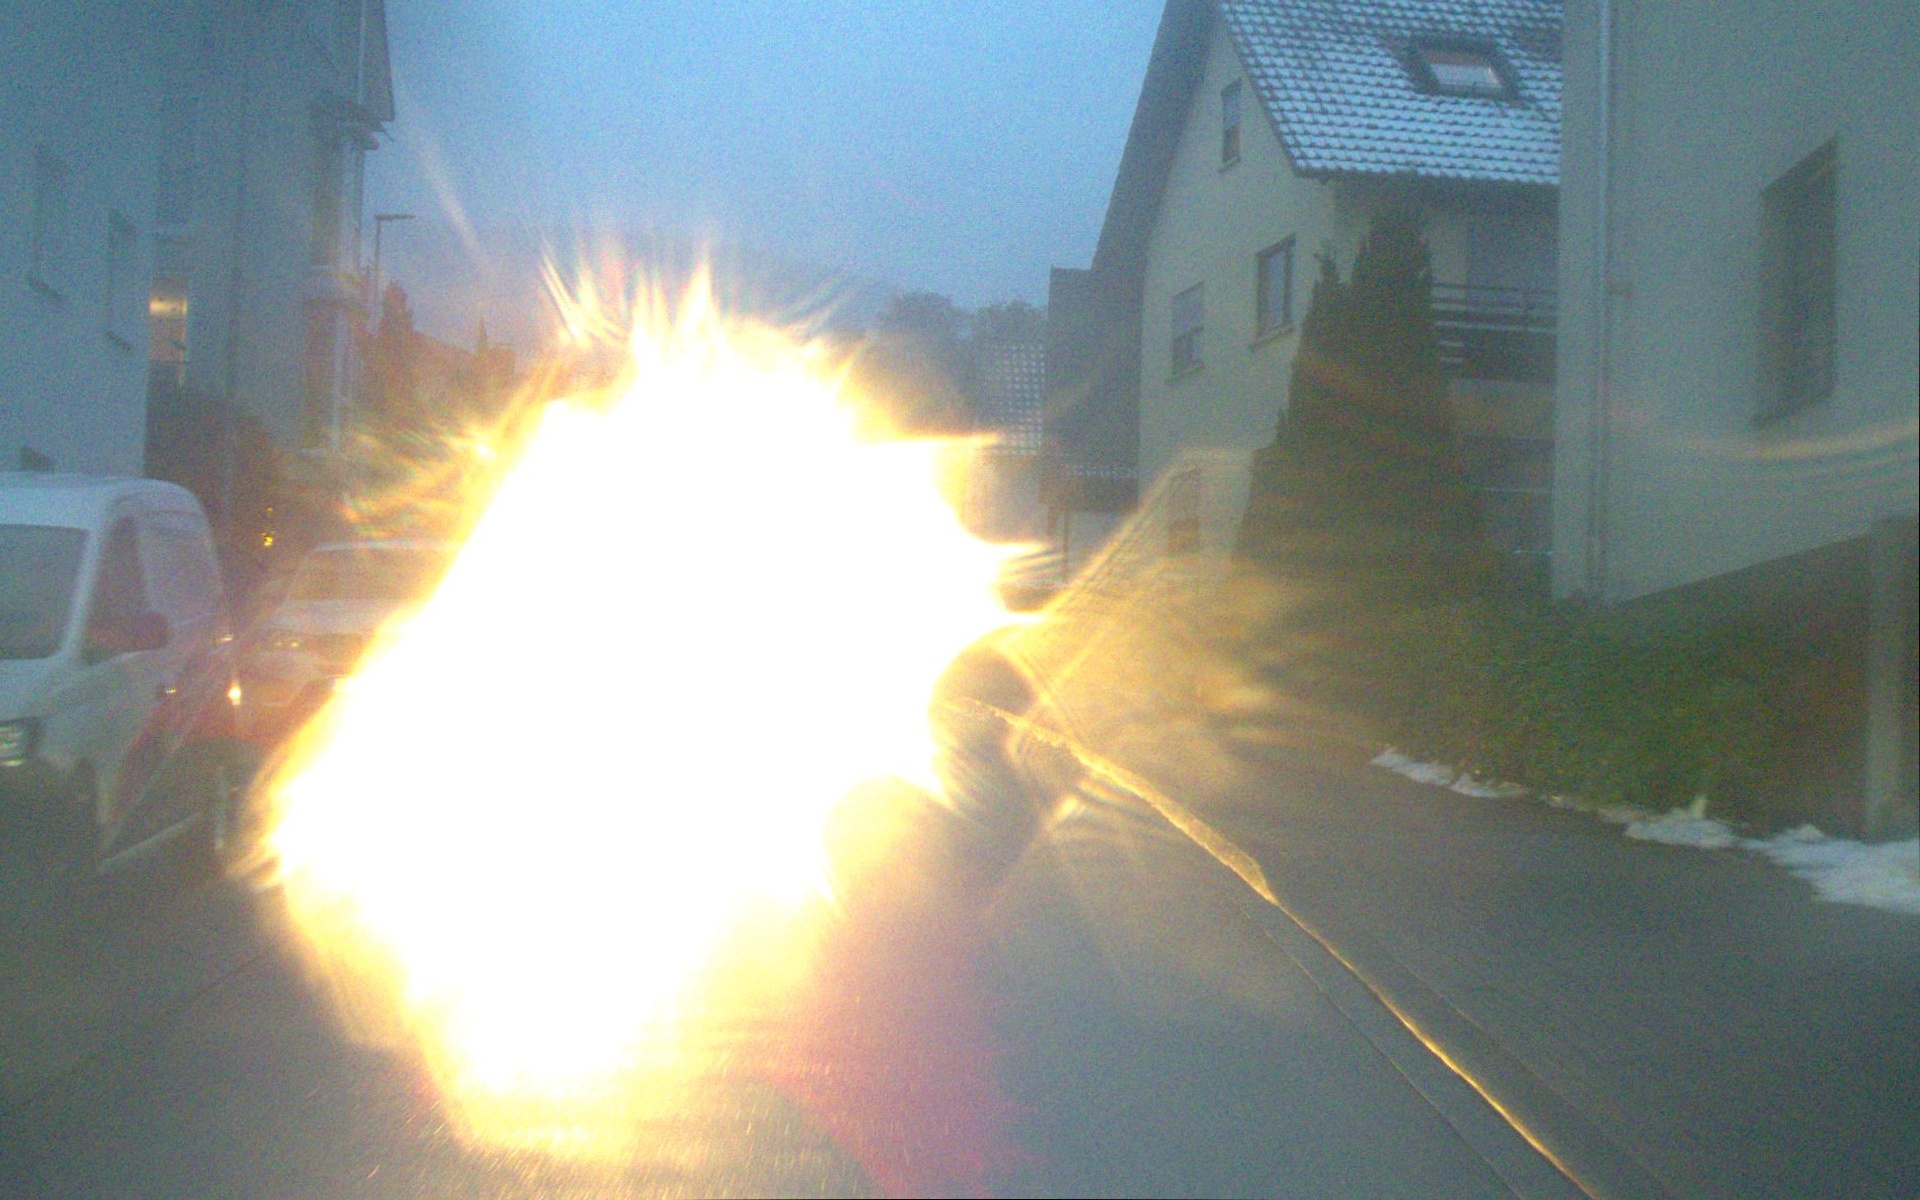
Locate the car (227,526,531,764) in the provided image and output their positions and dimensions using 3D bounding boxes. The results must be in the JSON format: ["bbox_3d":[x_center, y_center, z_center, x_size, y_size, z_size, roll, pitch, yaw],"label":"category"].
[{"bbox_3d":[-4.644,0.319,28.000,1.993,1.794,4.000,0,1,-3],"label":"car"}]

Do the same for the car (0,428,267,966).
[{"bbox_3d":[-4.122,0.306,13.839,1.825,1.829,4.345,0,1,-1],"label":"car"}]

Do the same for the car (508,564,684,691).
[{"bbox_3d":[-4.857,0.392,46.345,1.993,1.644,4.000,0,-1,-1],"label":"car"}]
